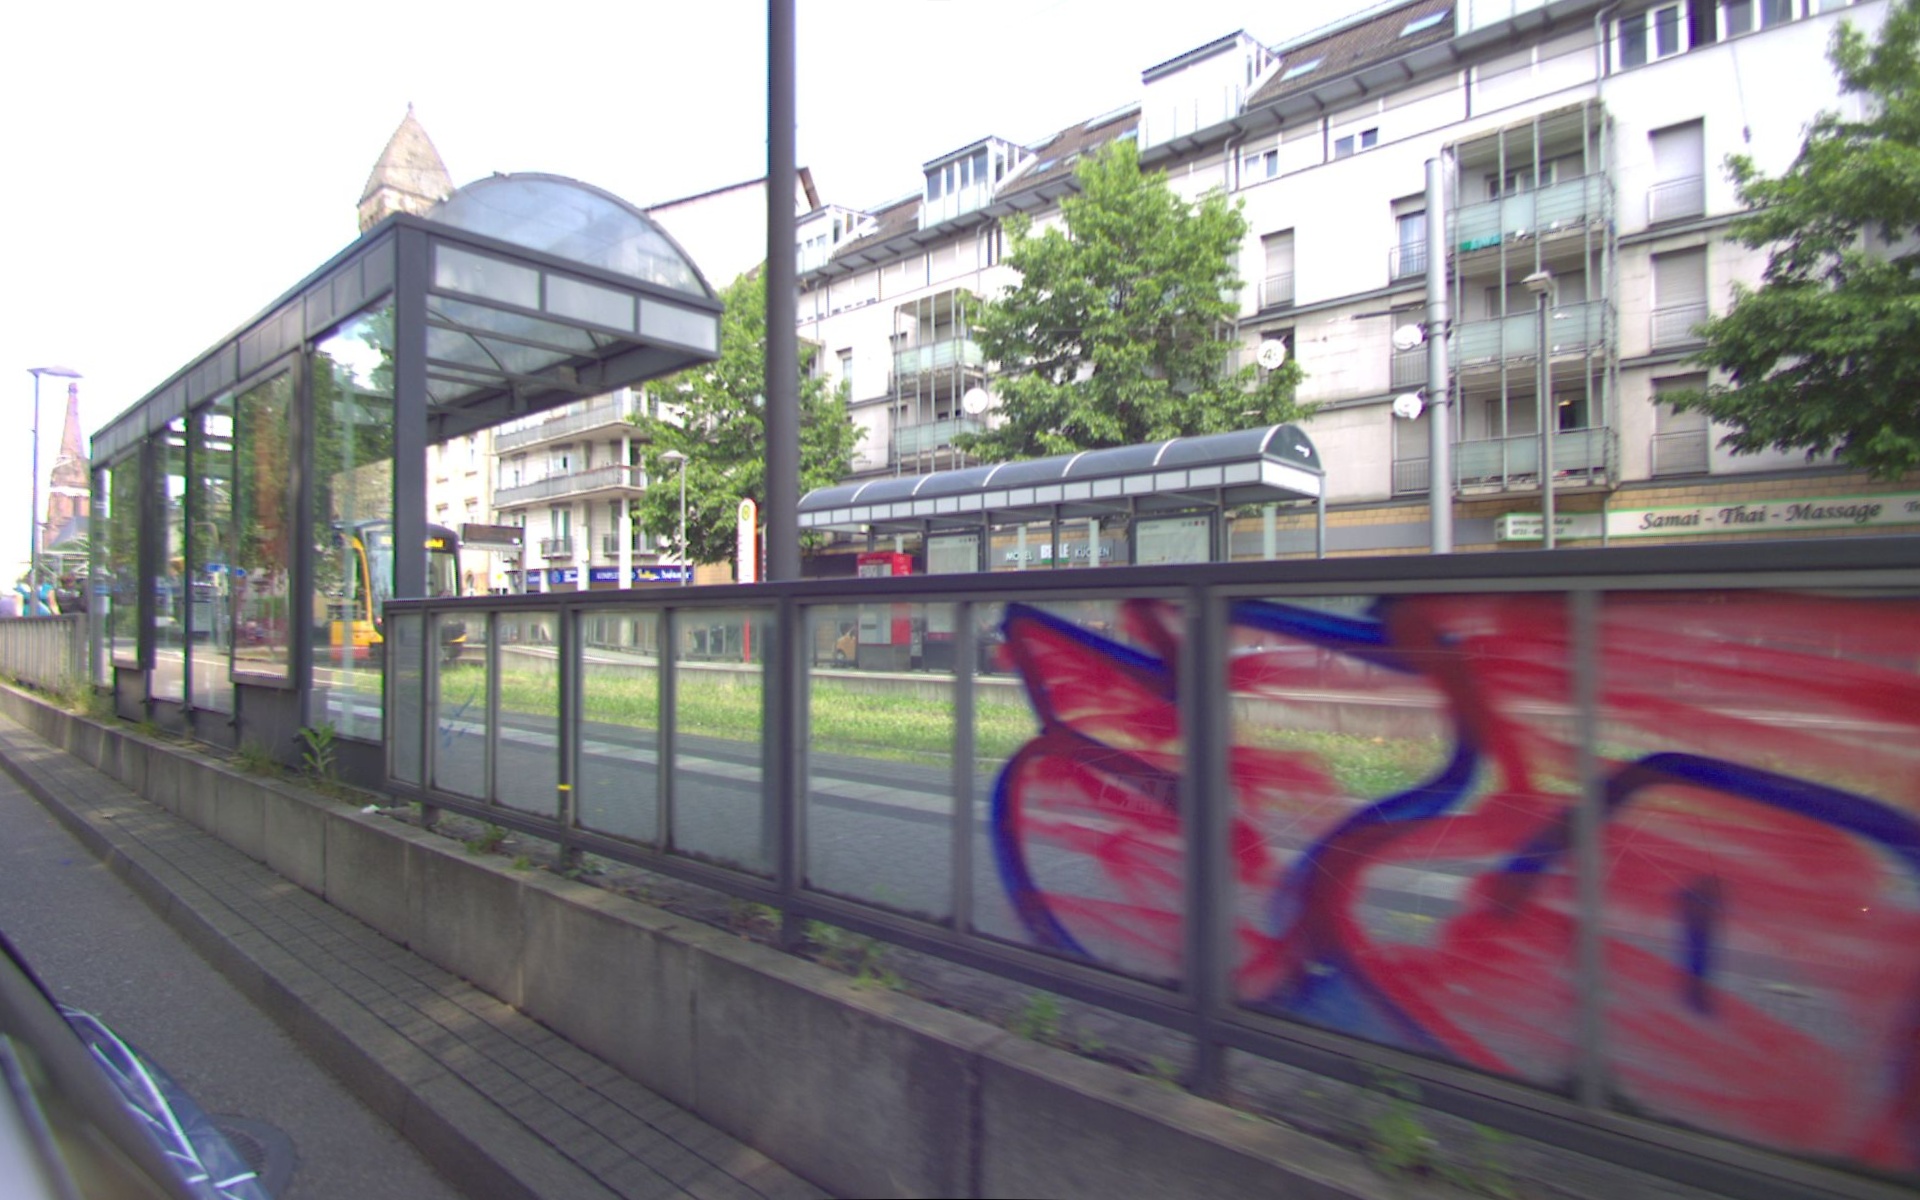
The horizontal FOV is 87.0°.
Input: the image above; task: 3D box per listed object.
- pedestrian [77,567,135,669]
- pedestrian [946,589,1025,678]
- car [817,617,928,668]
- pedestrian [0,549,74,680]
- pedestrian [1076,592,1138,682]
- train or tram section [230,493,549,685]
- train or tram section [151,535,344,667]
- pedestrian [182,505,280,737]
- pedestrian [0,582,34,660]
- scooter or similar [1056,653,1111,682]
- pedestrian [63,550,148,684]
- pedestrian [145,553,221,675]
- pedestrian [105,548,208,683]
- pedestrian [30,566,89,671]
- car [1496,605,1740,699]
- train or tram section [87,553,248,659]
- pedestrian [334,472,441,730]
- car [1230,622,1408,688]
[{"bbox_3d":[-16.052,0.341,19.024,0.907,1.863,0.694,-1,-2,41],"label":"pedestrian"},{"bbox_3d":[0.396,0.523,15.600,0.878,1.311,0.821,-2,-4,41],"label":"pedestrian"},{"bbox_3d":[-2.894,1.366,33.157,3.474,1.591,1.636,-1,-2,40],"label":"car"},{"bbox_3d":[-14.153,0.221,15.459,0.846,1.913,0.818,-1,-1,42],"label":"pedestrian"},{"bbox_3d":[2.070,0.520,14.226,0.618,1.223,0.657,-2,-4,41],"label":"pedestrian"},{"bbox_3d":[-14.269,-0.082,24.388,13.011,3.611,2.695,-1,-1,42],"label":"train or tram section"},{"bbox_3d":[-22.922,0.138,32.245,10.400,3.611,2.766,-1,-1,42],"label":"train or tram section"},{"bbox_3d":[-5.445,0.156,7.562,0.537,1.654,0.465,-2,-2,41],"label":"pedestrian"},{"bbox_3d":[-22.341,0.493,23.721,0.876,1.788,0.848,-1,-1,42],"label":"pedestrian"},{"bbox_3d":[1.676,0.914,13.758,0.618,0.369,0.405,-2,-3,41],"label":"scooter or similar"},{"bbox_3d":[-12.654,0.255,14.983,1.030,1.887,0.802,-2,-2,41],"label":"pedestrian"},{"bbox_3d":[-12.027,0.218,15.657,1.132,1.814,0.704,-2,-2,41],"label":"pedestrian"},{"bbox_3d":[-11.457,0.221,14.425,1.494,1.814,0.877,-2,-2,41],"label":"pedestrian"},{"bbox_3d":[-16.493,0.334,18.528,0.789,1.863,0.694,-1,-2,41],"label":"pedestrian"},{"bbox_3d":[12.528,0.947,19.385,3.690,1.621,1.701,-2,-2,42],"label":"car"},{"bbox_3d":[-31.644,0.331,40.070,13.011,3.611,2.777,-1,-1,42],"label":"train or tram section"},{"bbox_3d":[-4.410,0.013,7.813,0.532,1.915,0.469,-1,-2,17],"label":"pedestrian"},{"bbox_3d":[8.182,1.212,23.210,3.476,1.382,1.701,-2,-2,42],"label":"car"}]
